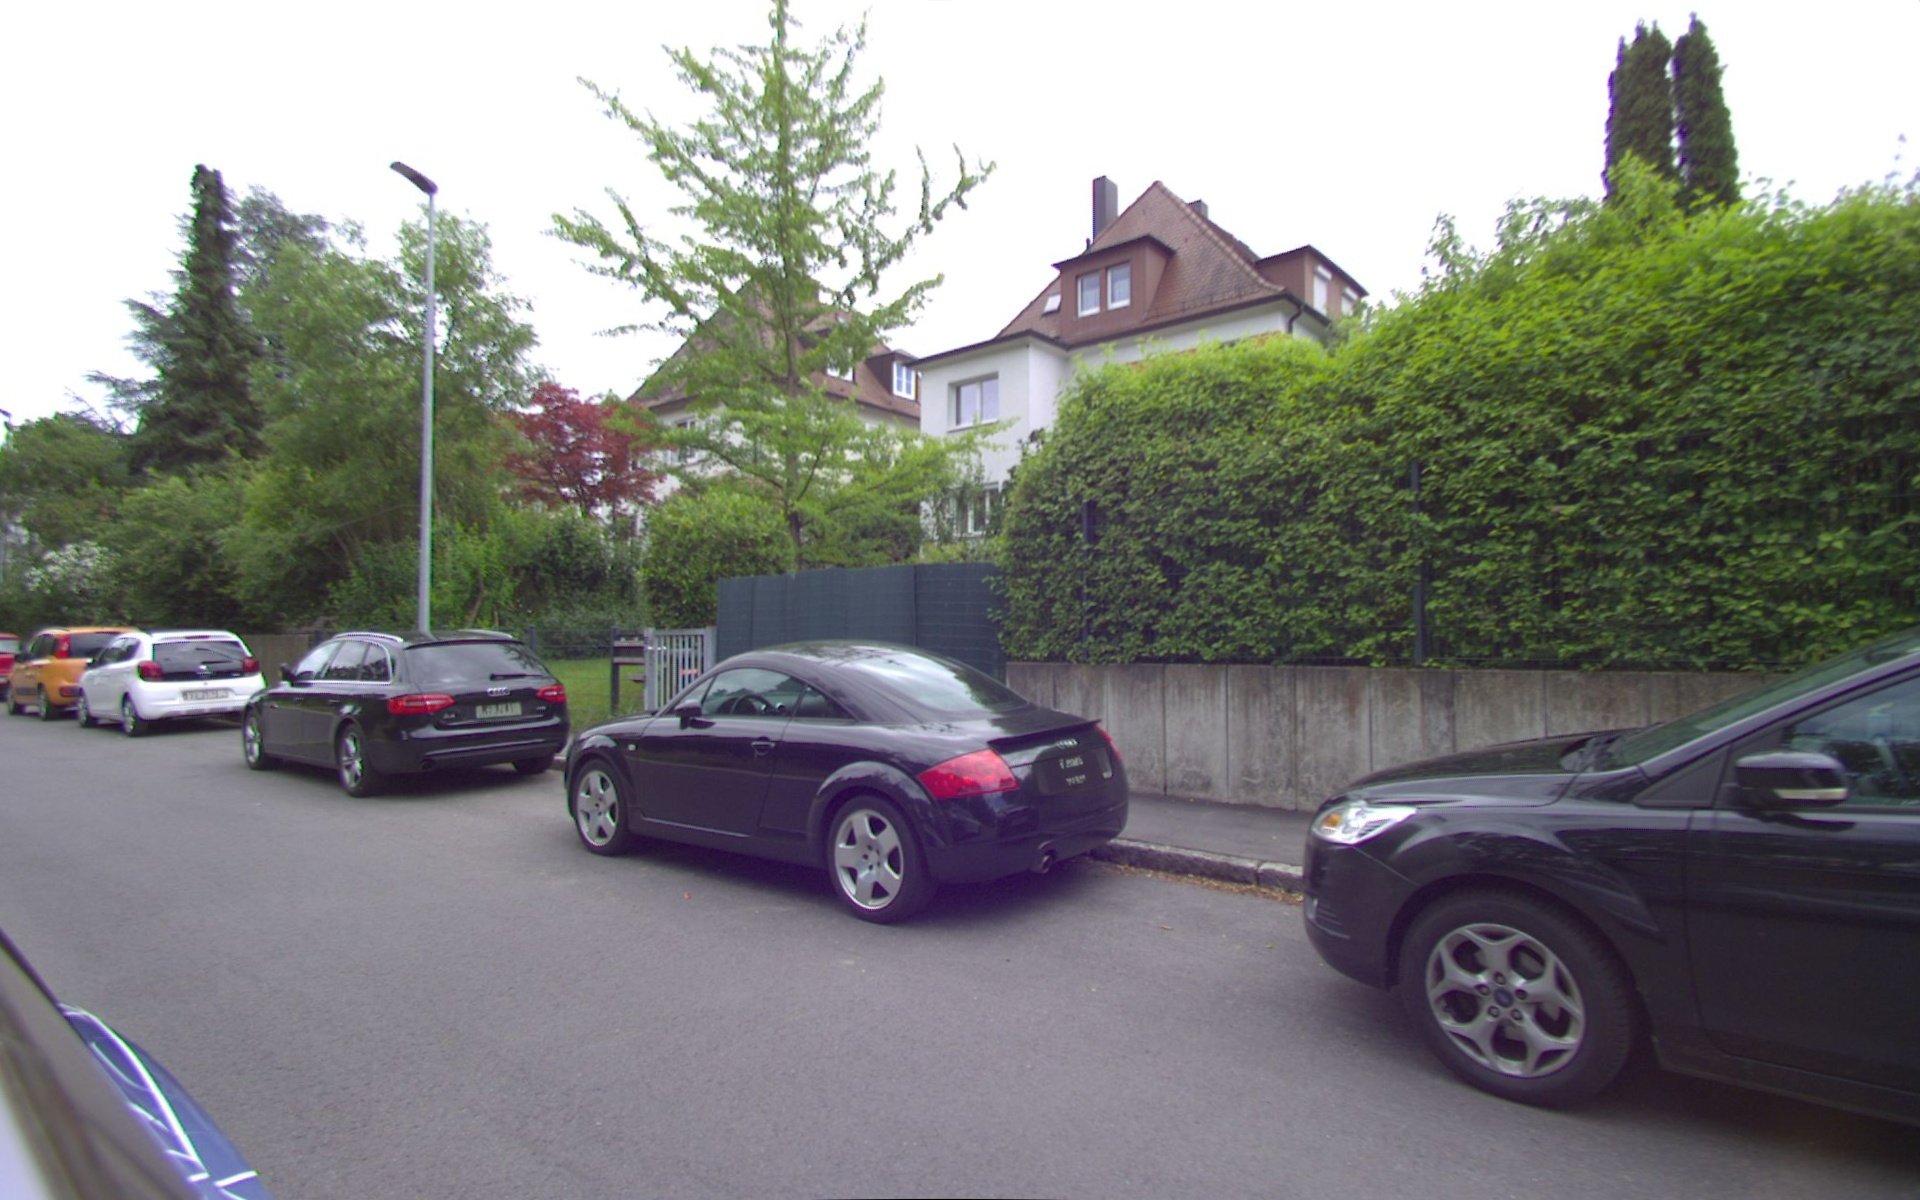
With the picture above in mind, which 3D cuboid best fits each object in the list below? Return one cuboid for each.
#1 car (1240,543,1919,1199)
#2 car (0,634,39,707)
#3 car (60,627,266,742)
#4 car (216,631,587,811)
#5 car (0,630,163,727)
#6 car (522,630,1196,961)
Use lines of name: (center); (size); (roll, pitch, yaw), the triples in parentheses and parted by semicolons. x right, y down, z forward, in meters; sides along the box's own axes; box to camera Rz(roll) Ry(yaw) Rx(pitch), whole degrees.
car: (3.163, 0.629, 2.558); (4.474, 1.545, 1.638); (-2, -1, 43)
car: (-22.099, 1.528, 22.351); (4.353, 1.526, 1.692); (-2, -2, 35)
car: (-12.068, 1.190, 15.268); (3.584, 1.526, 1.573); (-2, -2, 37)
car: (-5.735, 1.023, 10.115); (4.659, 1.395, 1.701); (-2, -2, 40)
car: (-15.640, 1.310, 17.839); (3.635, 1.526, 1.530); (-2, -2, 35)
car: (-0.828, 0.887, 6.206); (4.102, 1.351, 1.695); (-2, -1, 39)
